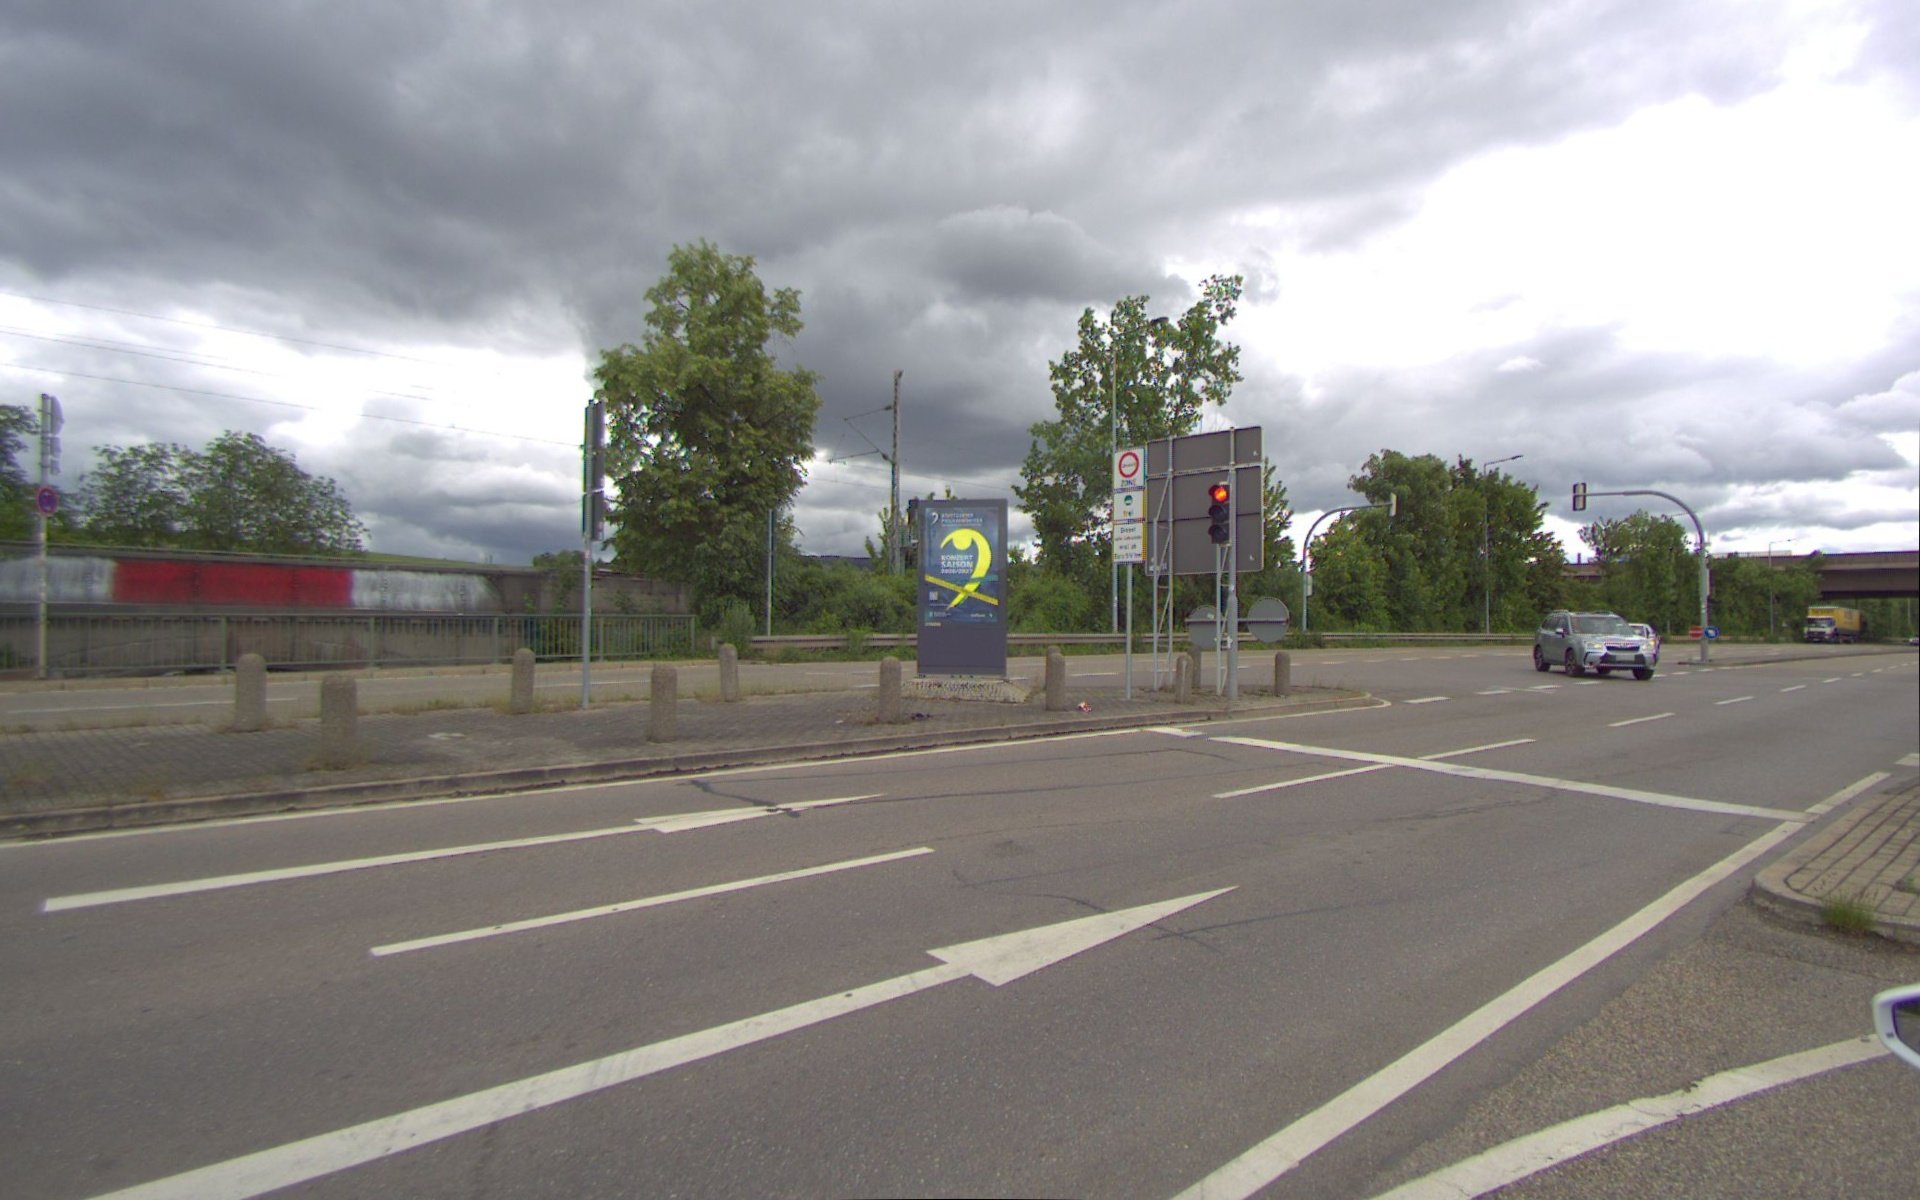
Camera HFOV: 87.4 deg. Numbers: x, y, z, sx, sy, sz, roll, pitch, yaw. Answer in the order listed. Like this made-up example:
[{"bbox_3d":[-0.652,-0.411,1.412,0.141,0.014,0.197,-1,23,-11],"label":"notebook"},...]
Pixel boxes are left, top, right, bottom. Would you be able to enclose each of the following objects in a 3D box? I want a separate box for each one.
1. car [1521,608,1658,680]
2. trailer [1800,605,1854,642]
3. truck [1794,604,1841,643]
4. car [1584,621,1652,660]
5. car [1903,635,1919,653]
[{"bbox_3d":[16.698,1.120,26.903,1.695,1.760,4.558,0,-1,13],"label":"car"},{"bbox_3d":[101.477,2.728,117.470,11.331,4.139,2.848,1,1,-40],"label":"trailer"},{"bbox_3d":[97.301,2.639,113.955,6.433,4.139,2.848,1,1,-40],"label":"truck"},{"bbox_3d":[25.597,1.544,39.032,1.704,1.419,4.046,-1,-1,41],"label":"car"},{"bbox_3d":[113.556,5.268,118.976,1.966,1.885,3.989,3,2,33],"label":"car"}]
